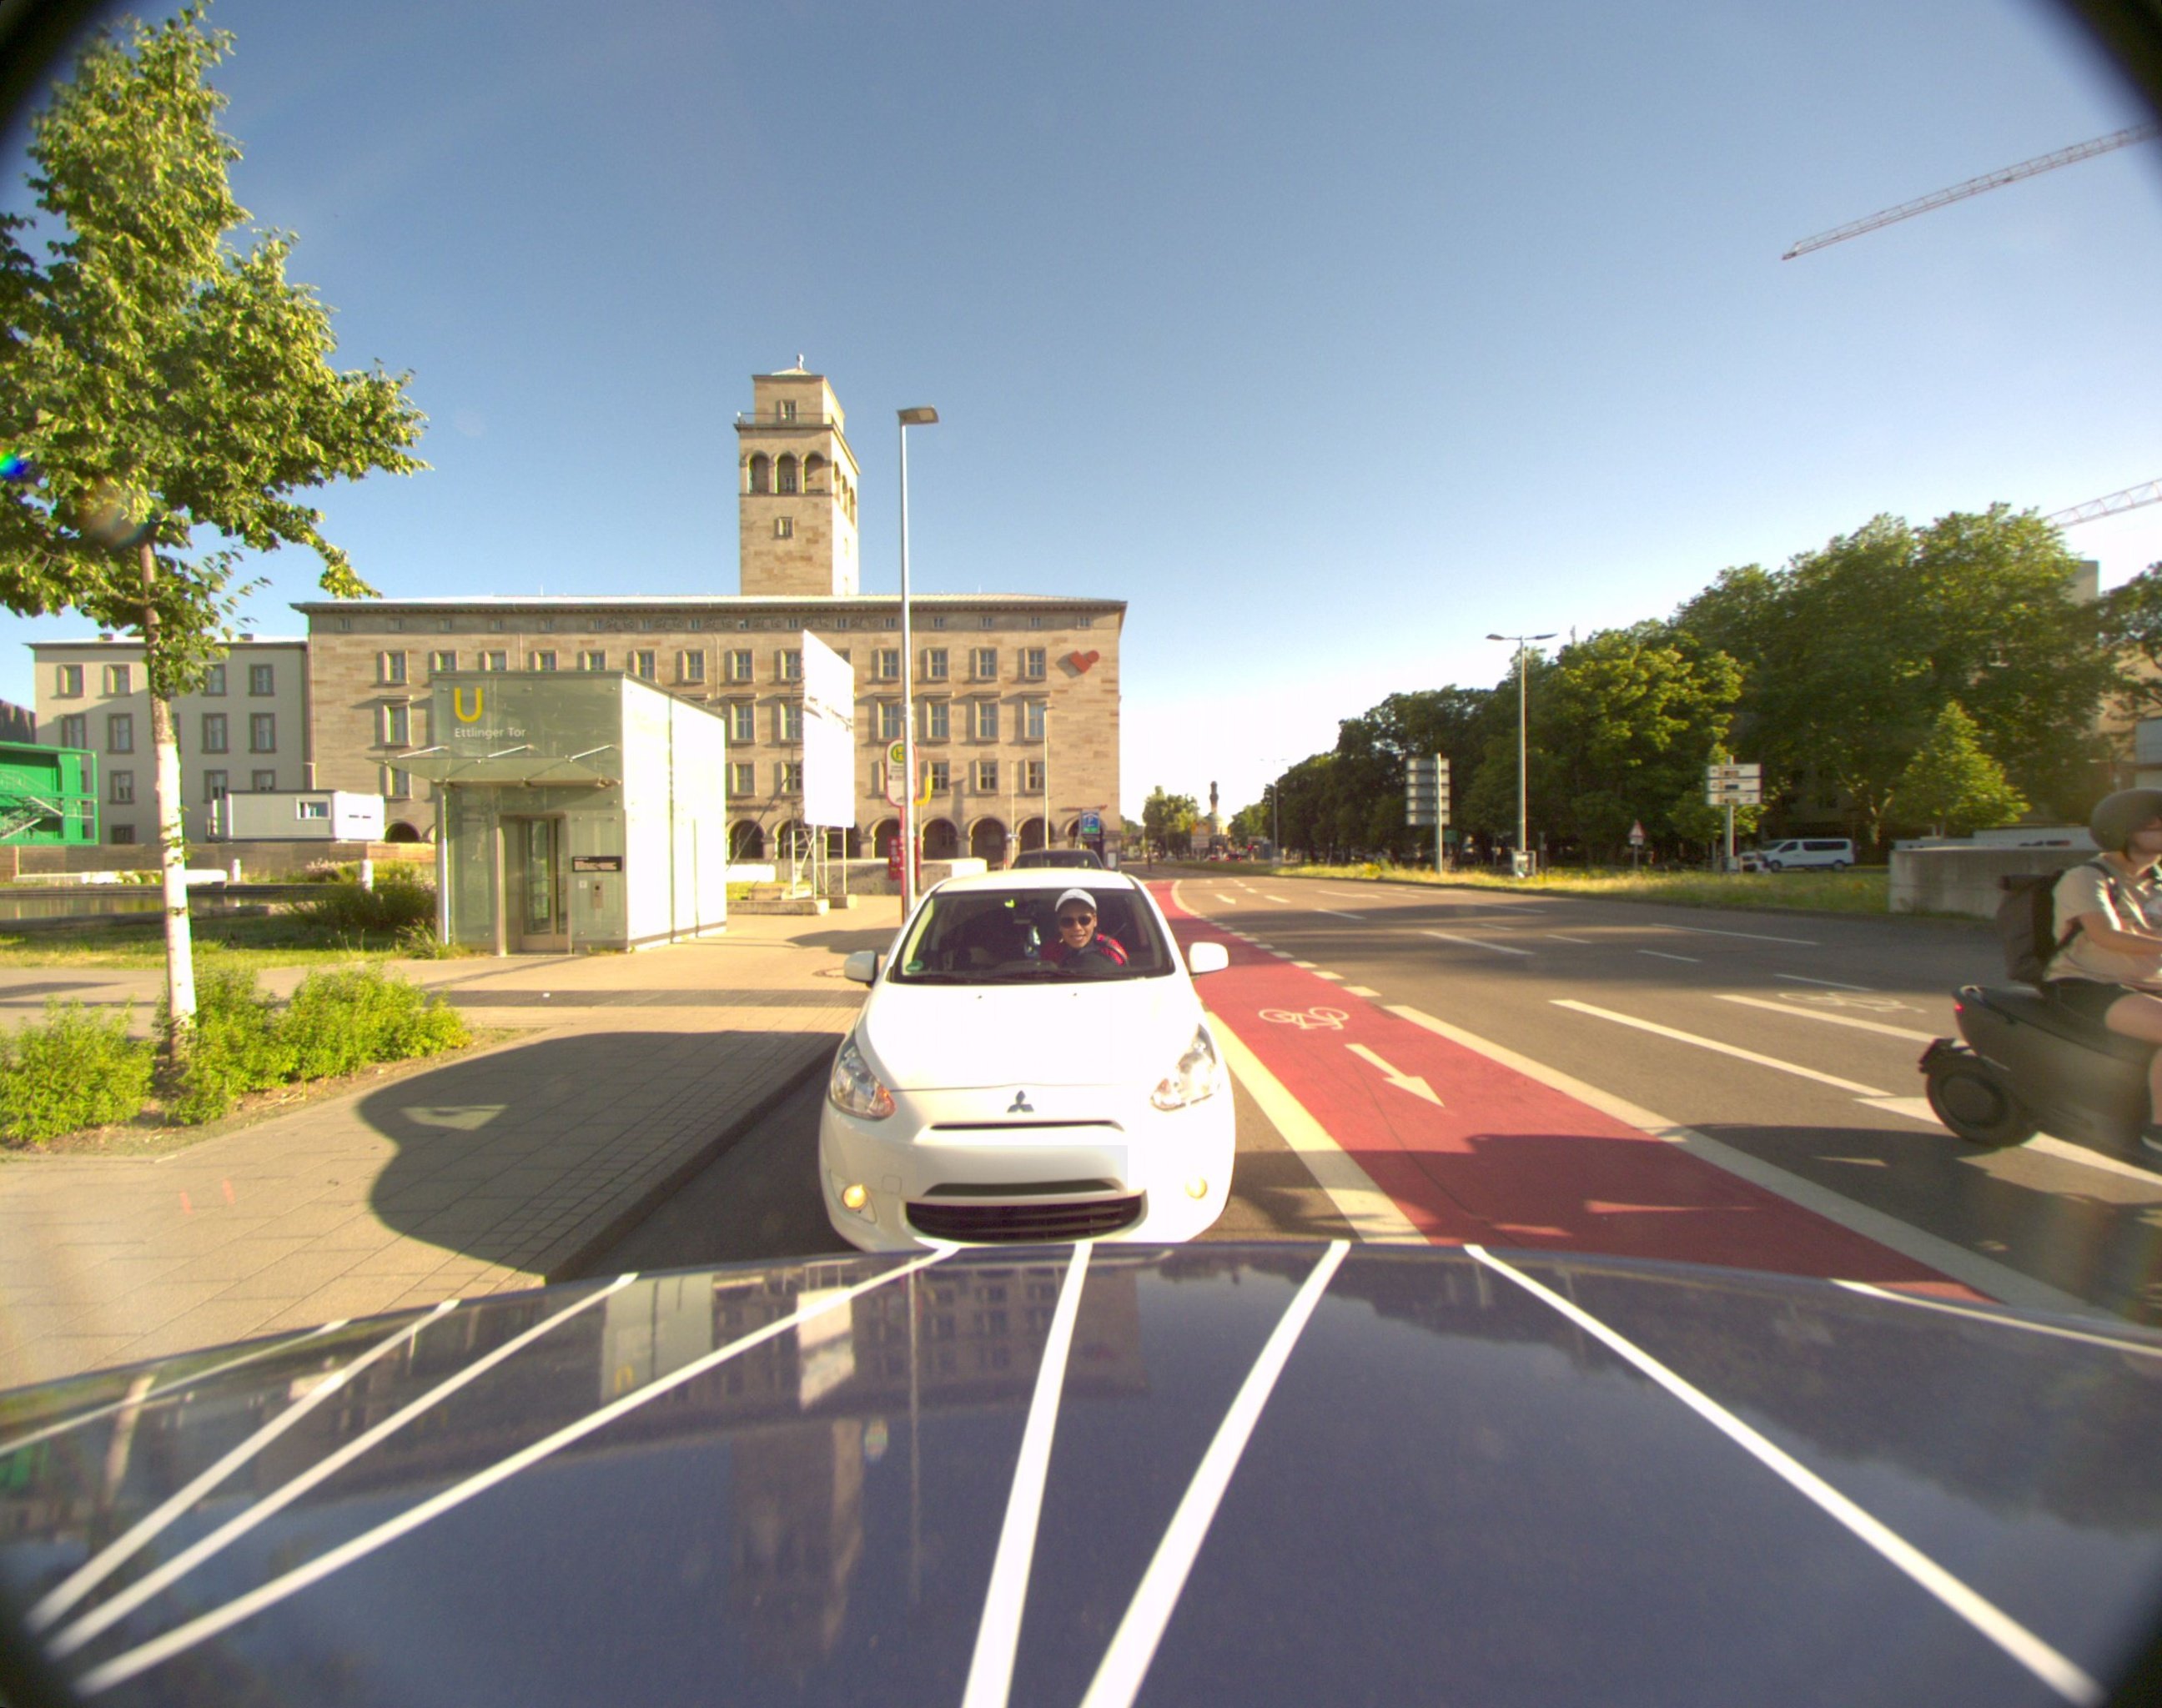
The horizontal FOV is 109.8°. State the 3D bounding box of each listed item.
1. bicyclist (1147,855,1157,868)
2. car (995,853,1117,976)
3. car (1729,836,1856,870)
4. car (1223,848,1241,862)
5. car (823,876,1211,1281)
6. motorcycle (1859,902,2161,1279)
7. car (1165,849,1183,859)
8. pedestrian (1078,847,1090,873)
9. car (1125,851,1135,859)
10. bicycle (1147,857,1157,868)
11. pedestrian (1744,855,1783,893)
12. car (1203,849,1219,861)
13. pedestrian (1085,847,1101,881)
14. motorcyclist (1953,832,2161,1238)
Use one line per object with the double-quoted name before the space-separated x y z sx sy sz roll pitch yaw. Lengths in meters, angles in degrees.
"bicyclist" 7.304 0.783 78.190 0.854 1.340 0.829 -2 1 1
"car" -0.370 0.839 12.518 1.642 1.653 3.849 -2 0 -1
"car" 42.136 -0.052 45.109 5.516 1.924 2.065 -1 1 2
"car" 21.572 0.143 108.455 1.819 1.817 3.999 -2 1 1
"car" -0.231 0.953 4.838 1.496 1.477 3.604 -2 0 1
"motorcycle" 4.286 0.898 2.884 0.724 1.286 1.884 -2 0 1
"car" 16.311 0.057 133.664 1.851 1.677 3.996 -2 1 -11
"pedestrian" 0.328 0.546 75.755 1.122 2.524 1.055 -2 1 1
"car" 12.259 0.164 190.597 1.877 1.827 4.584 -2 1 -3
"bicycle" 7.299 0.869 78.263 0.854 1.109 2.808 -2 0 1
"pedestrian" 33.895 0.968 37.729 0.989 1.821 1.019 -2 1 -3
"car" 20.589 0.119 120.439 1.747 1.778 3.947 -2 1 1
"pedestrian" 0.890 0.725 58.015 1.122 2.524 1.055 -2 1 1
"motorcyclist" 4.279 0.653 2.938 0.727 1.466 0.917 -2 0 1
